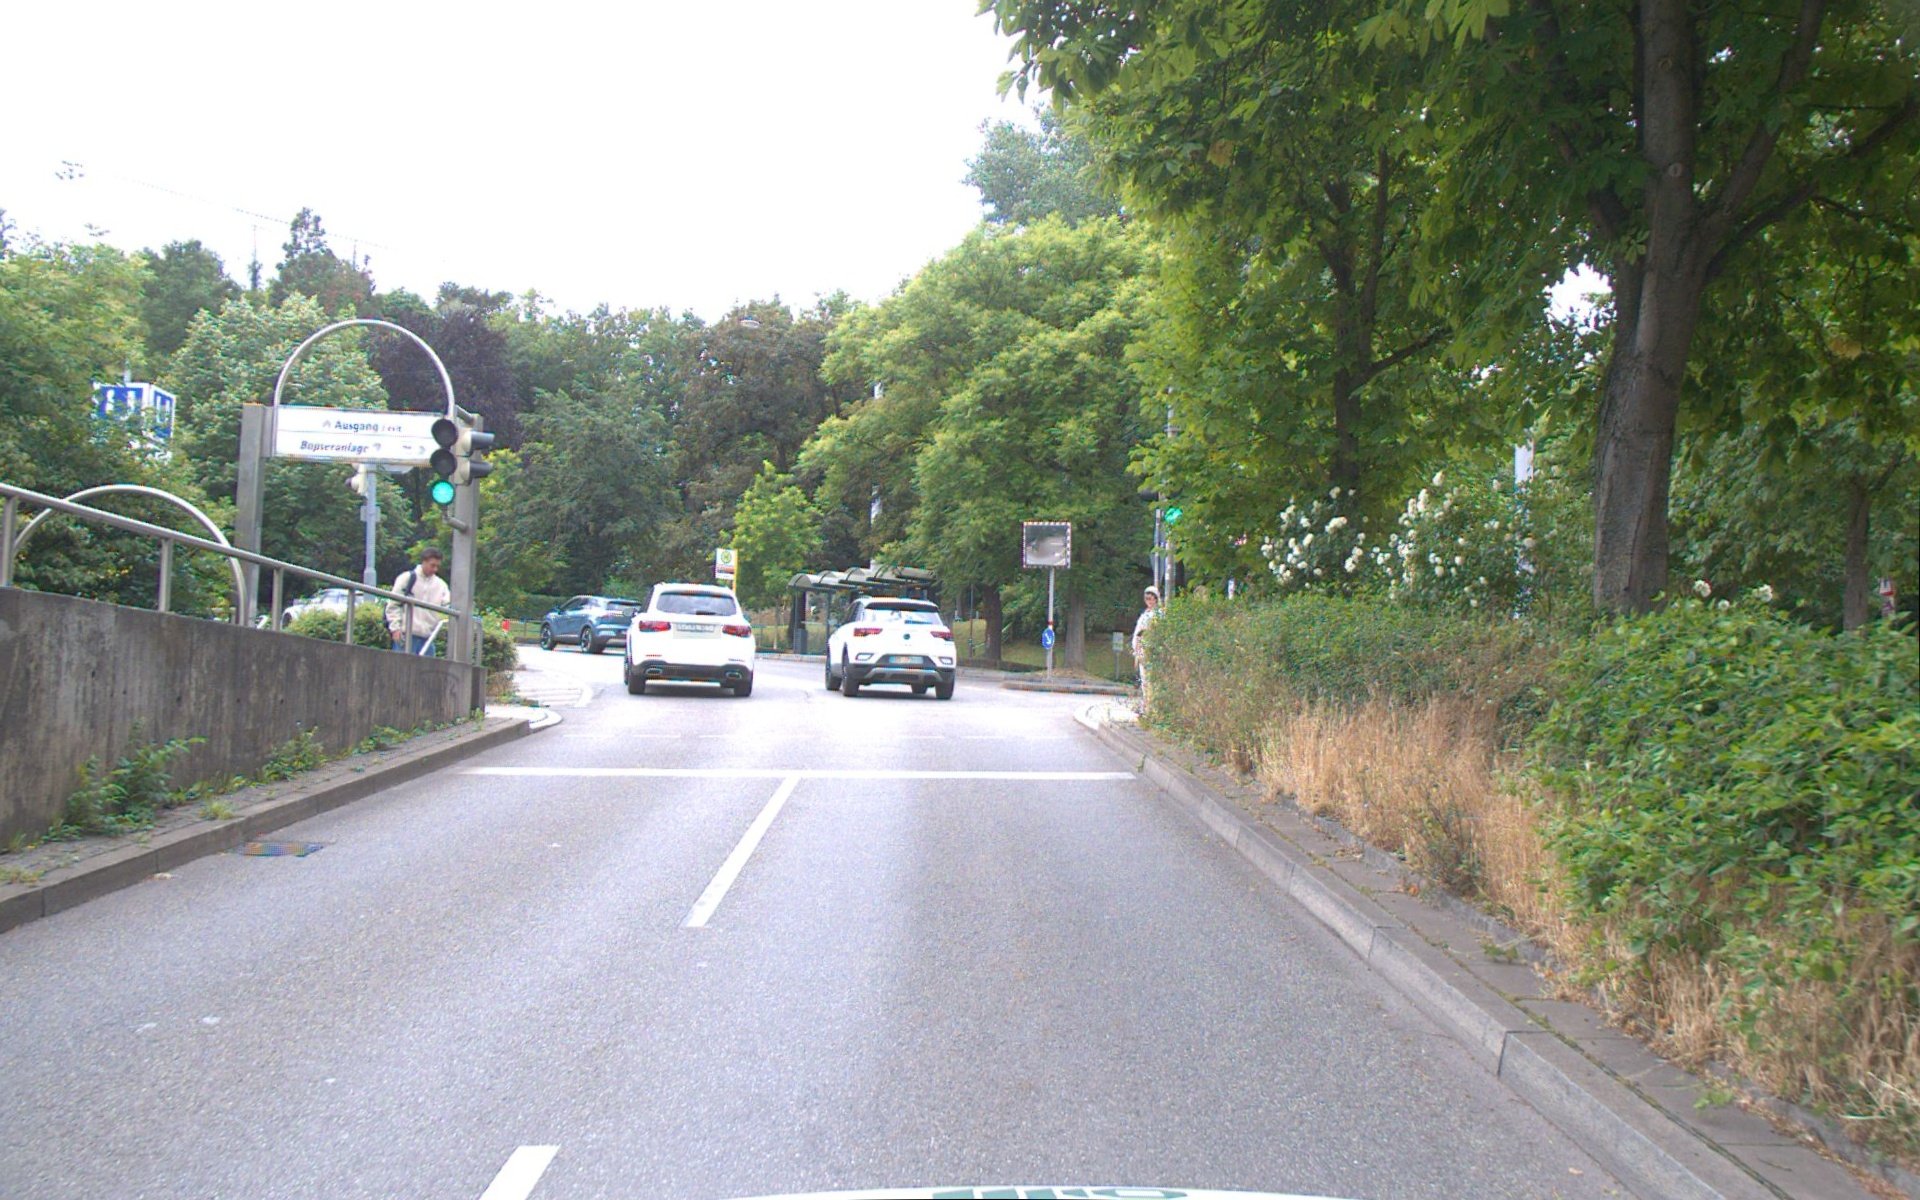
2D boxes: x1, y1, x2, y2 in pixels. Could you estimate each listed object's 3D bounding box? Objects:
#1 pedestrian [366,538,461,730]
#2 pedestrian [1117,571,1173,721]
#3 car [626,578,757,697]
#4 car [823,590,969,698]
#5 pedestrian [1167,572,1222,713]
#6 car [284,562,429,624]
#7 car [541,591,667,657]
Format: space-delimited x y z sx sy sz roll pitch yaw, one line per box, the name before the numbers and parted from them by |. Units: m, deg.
pedestrian | -5.525 0.339 16.733 0.690 1.893 0.614 1 -1 5
pedestrian | 2.181 0.539 19.523 0.602 1.742 0.727 0 -1 3
car | -4.249 0.551 25.805 1.843 1.681 4.329 0 0 -11
car | -1.131 0.696 27.147 1.831 1.583 3.884 2 -1 -10
pedestrian | 2.943 0.531 20.792 0.602 1.742 0.727 0 -1 3
car | -17.656 -0.214 48.305 4.234 1.545 2.239 1 -5 44
car | -9.940 0.648 46.043 1.848 1.660 3.905 5 -2 -38
